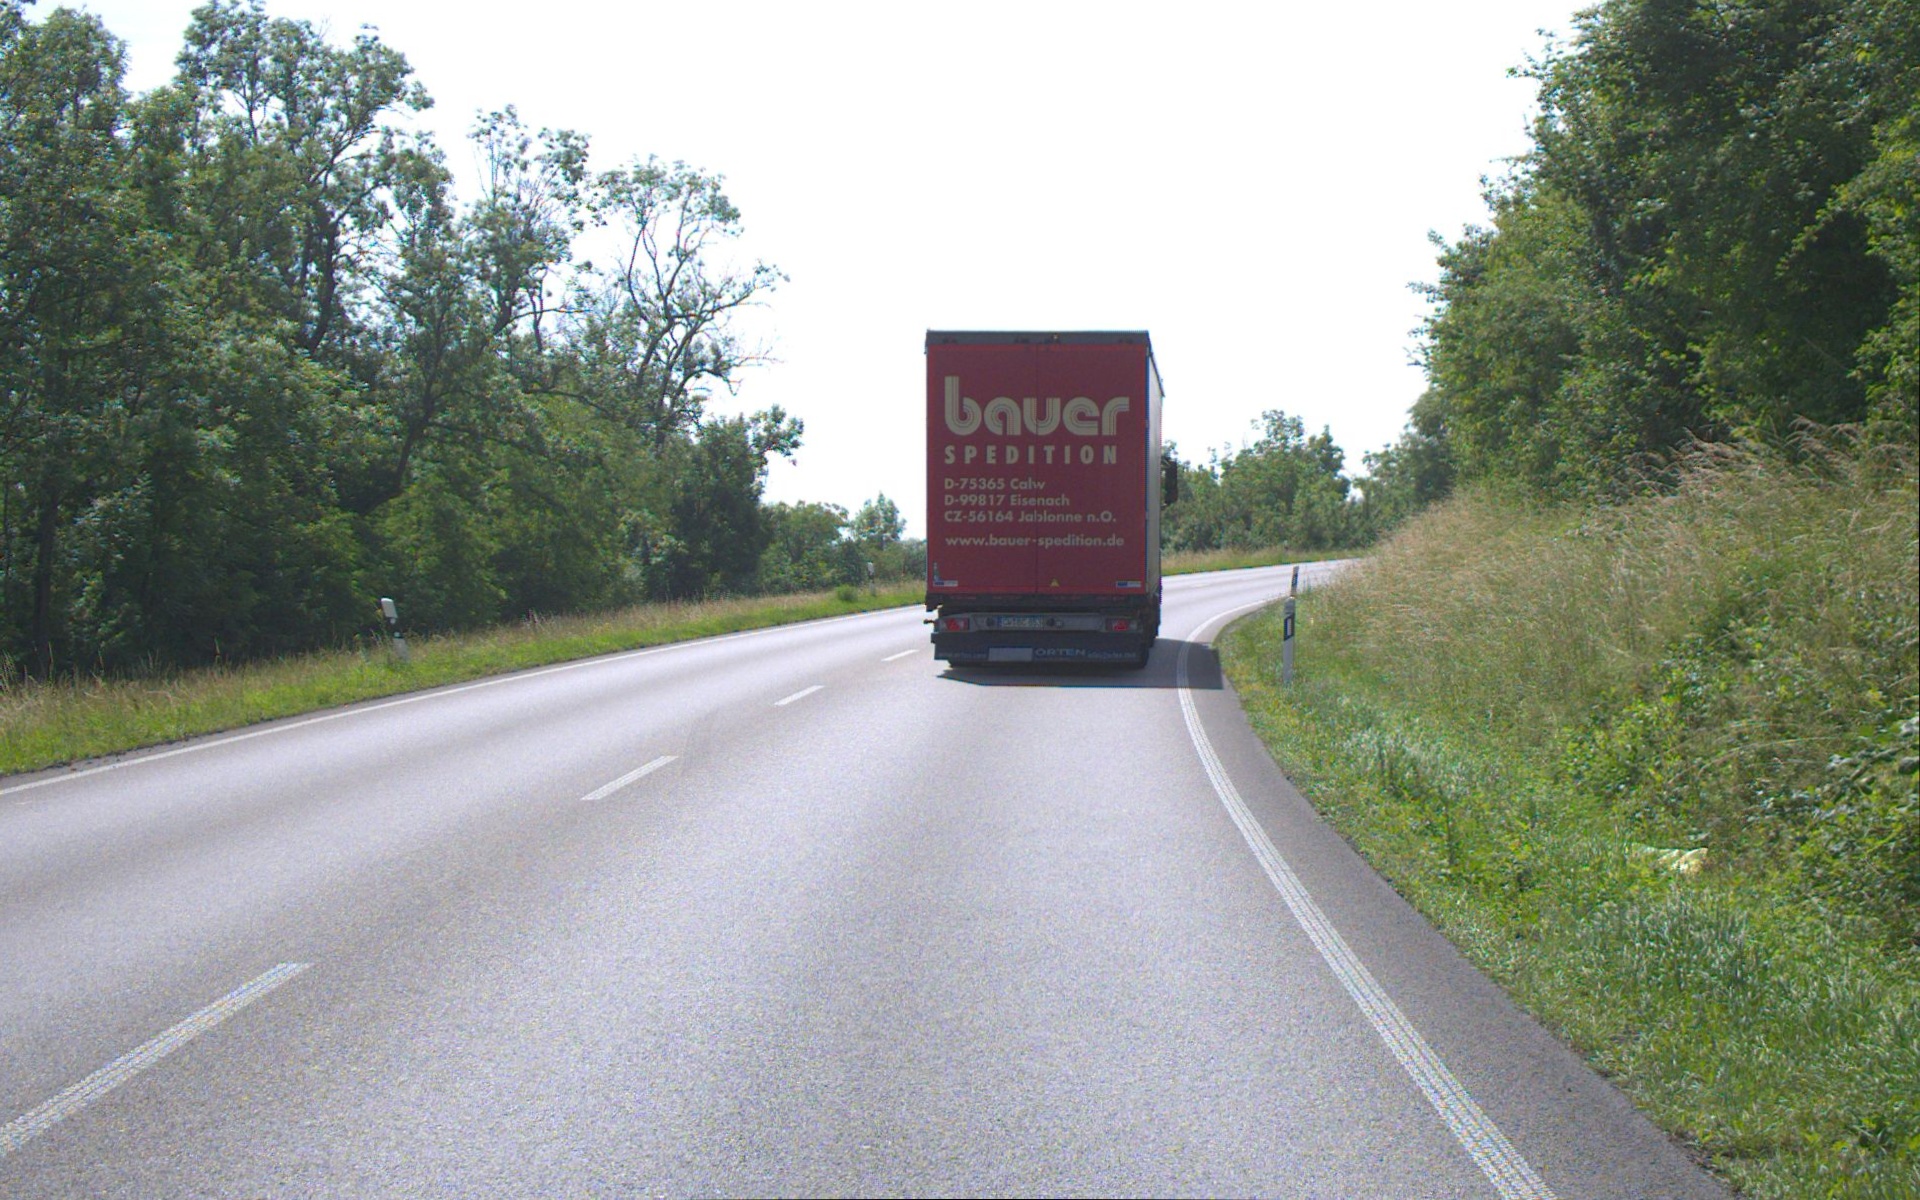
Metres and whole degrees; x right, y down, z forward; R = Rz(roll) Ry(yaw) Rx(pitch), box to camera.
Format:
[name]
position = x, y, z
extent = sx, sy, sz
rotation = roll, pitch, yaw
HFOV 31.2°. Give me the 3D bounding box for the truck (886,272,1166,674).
[truck]
position = 1.095, -1.527, 44.619
extent = 3.112, 4.490, 12.166
rotation = 0, 1, 3
